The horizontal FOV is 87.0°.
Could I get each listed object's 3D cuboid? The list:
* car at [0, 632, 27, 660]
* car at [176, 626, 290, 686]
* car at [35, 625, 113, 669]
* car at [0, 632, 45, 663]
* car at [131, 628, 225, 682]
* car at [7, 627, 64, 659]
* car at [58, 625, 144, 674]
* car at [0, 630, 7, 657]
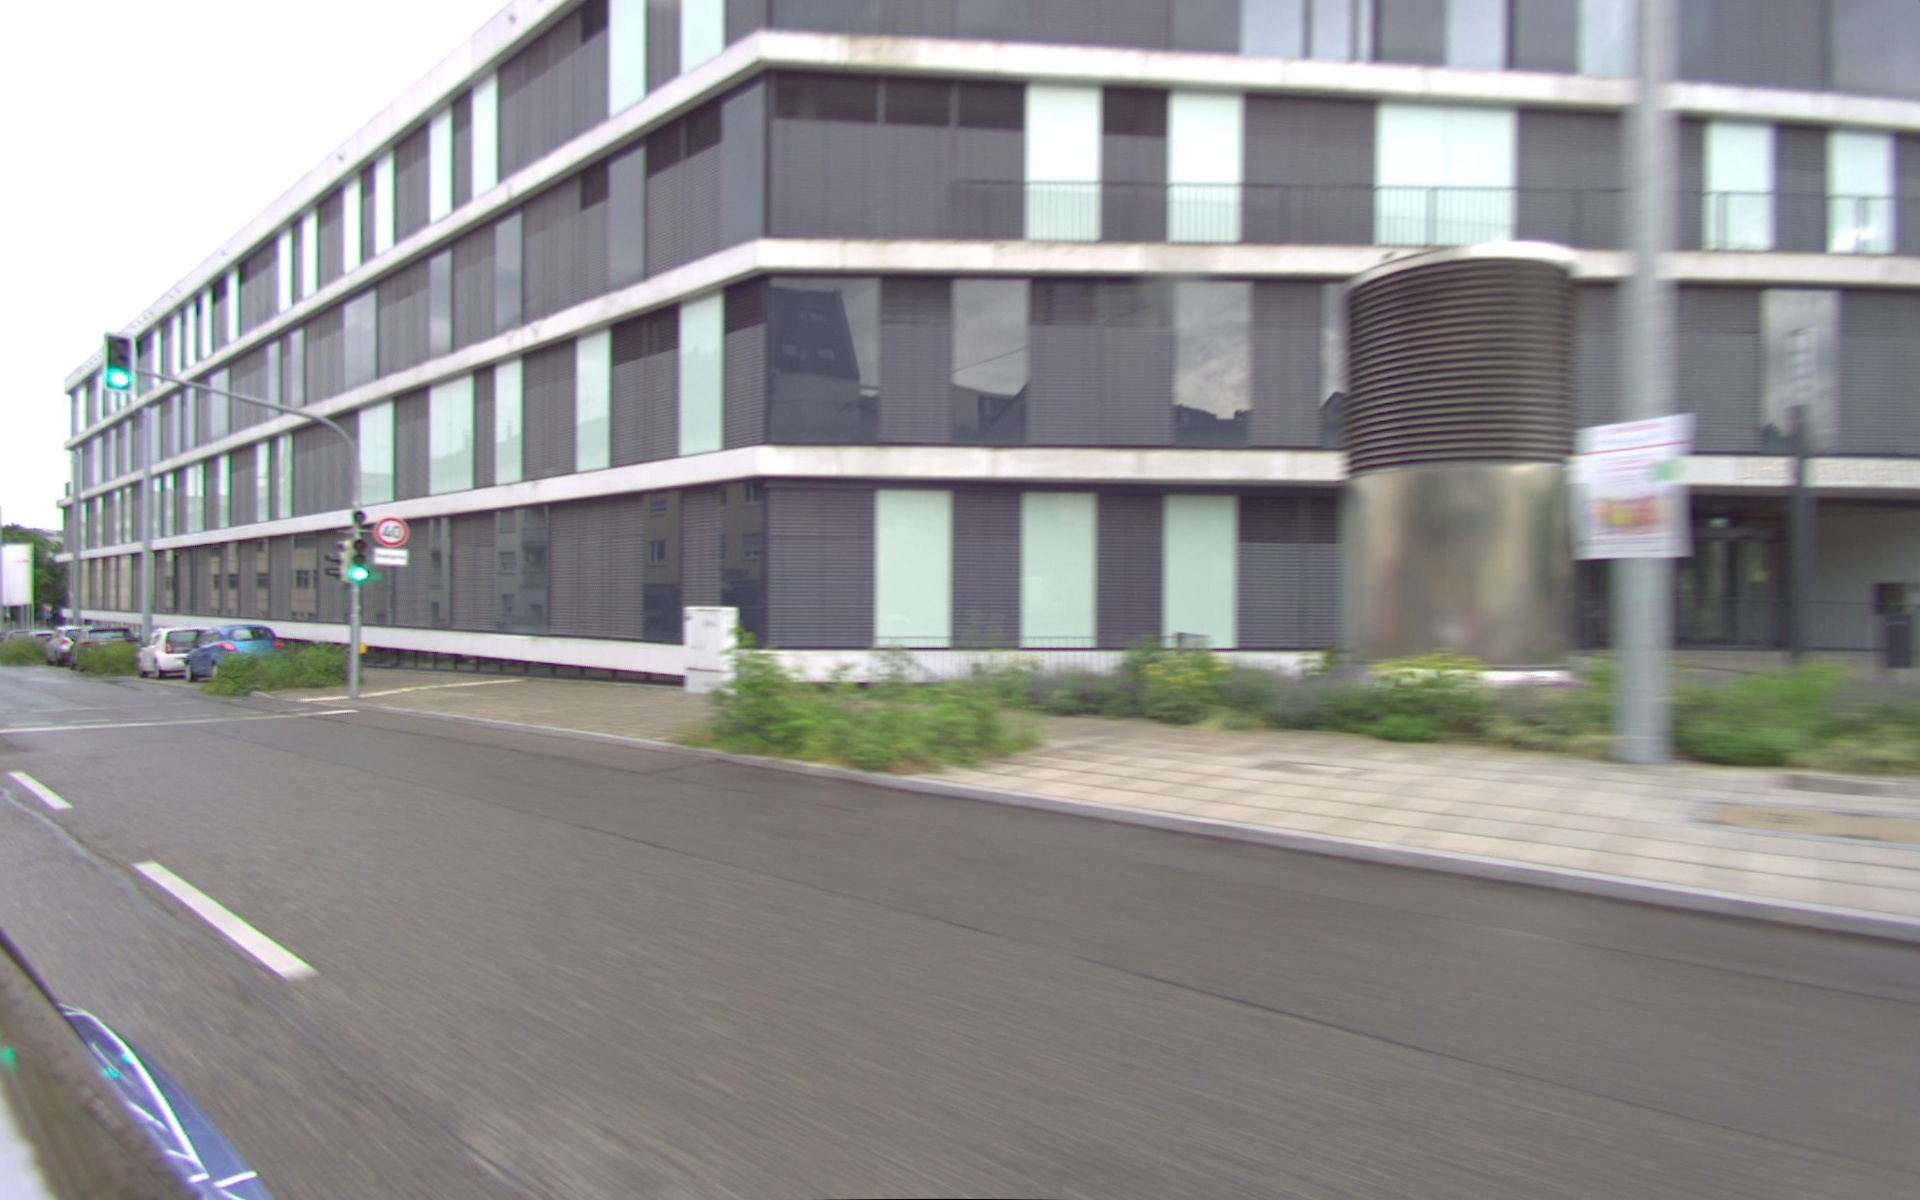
[{"bbox_3d":[-54.480,2.597,57.574,4.039,1.483,1.621,-2,0,41],"label":"car"},{"bbox_3d":[-19.397,1.447,26.958,3.580,1.478,1.621,-1,-1,39],"label":"car"},{"bbox_3d":[-36.036,1.885,41.125,4.361,1.601,1.811,-2,1,41],"label":"car"},{"bbox_3d":[-48.035,2.380,51.626,4.039,1.483,1.545,-2,0,41],"label":"car"},{"bbox_3d":[-23.235,1.579,30.038,3.583,1.478,1.620,-2,-1,42],"label":"car"},{"bbox_3d":[-43.597,2.007,47.678,4.039,1.404,1.545,-2,0,41],"label":"car"},{"bbox_3d":[-31.432,1.766,36.988,4.363,1.601,1.862,-2,1,43],"label":"car"},{"bbox_3d":[-59.315,2.673,61.529,4.039,1.597,1.621,-2,0,41],"label":"car"}]
